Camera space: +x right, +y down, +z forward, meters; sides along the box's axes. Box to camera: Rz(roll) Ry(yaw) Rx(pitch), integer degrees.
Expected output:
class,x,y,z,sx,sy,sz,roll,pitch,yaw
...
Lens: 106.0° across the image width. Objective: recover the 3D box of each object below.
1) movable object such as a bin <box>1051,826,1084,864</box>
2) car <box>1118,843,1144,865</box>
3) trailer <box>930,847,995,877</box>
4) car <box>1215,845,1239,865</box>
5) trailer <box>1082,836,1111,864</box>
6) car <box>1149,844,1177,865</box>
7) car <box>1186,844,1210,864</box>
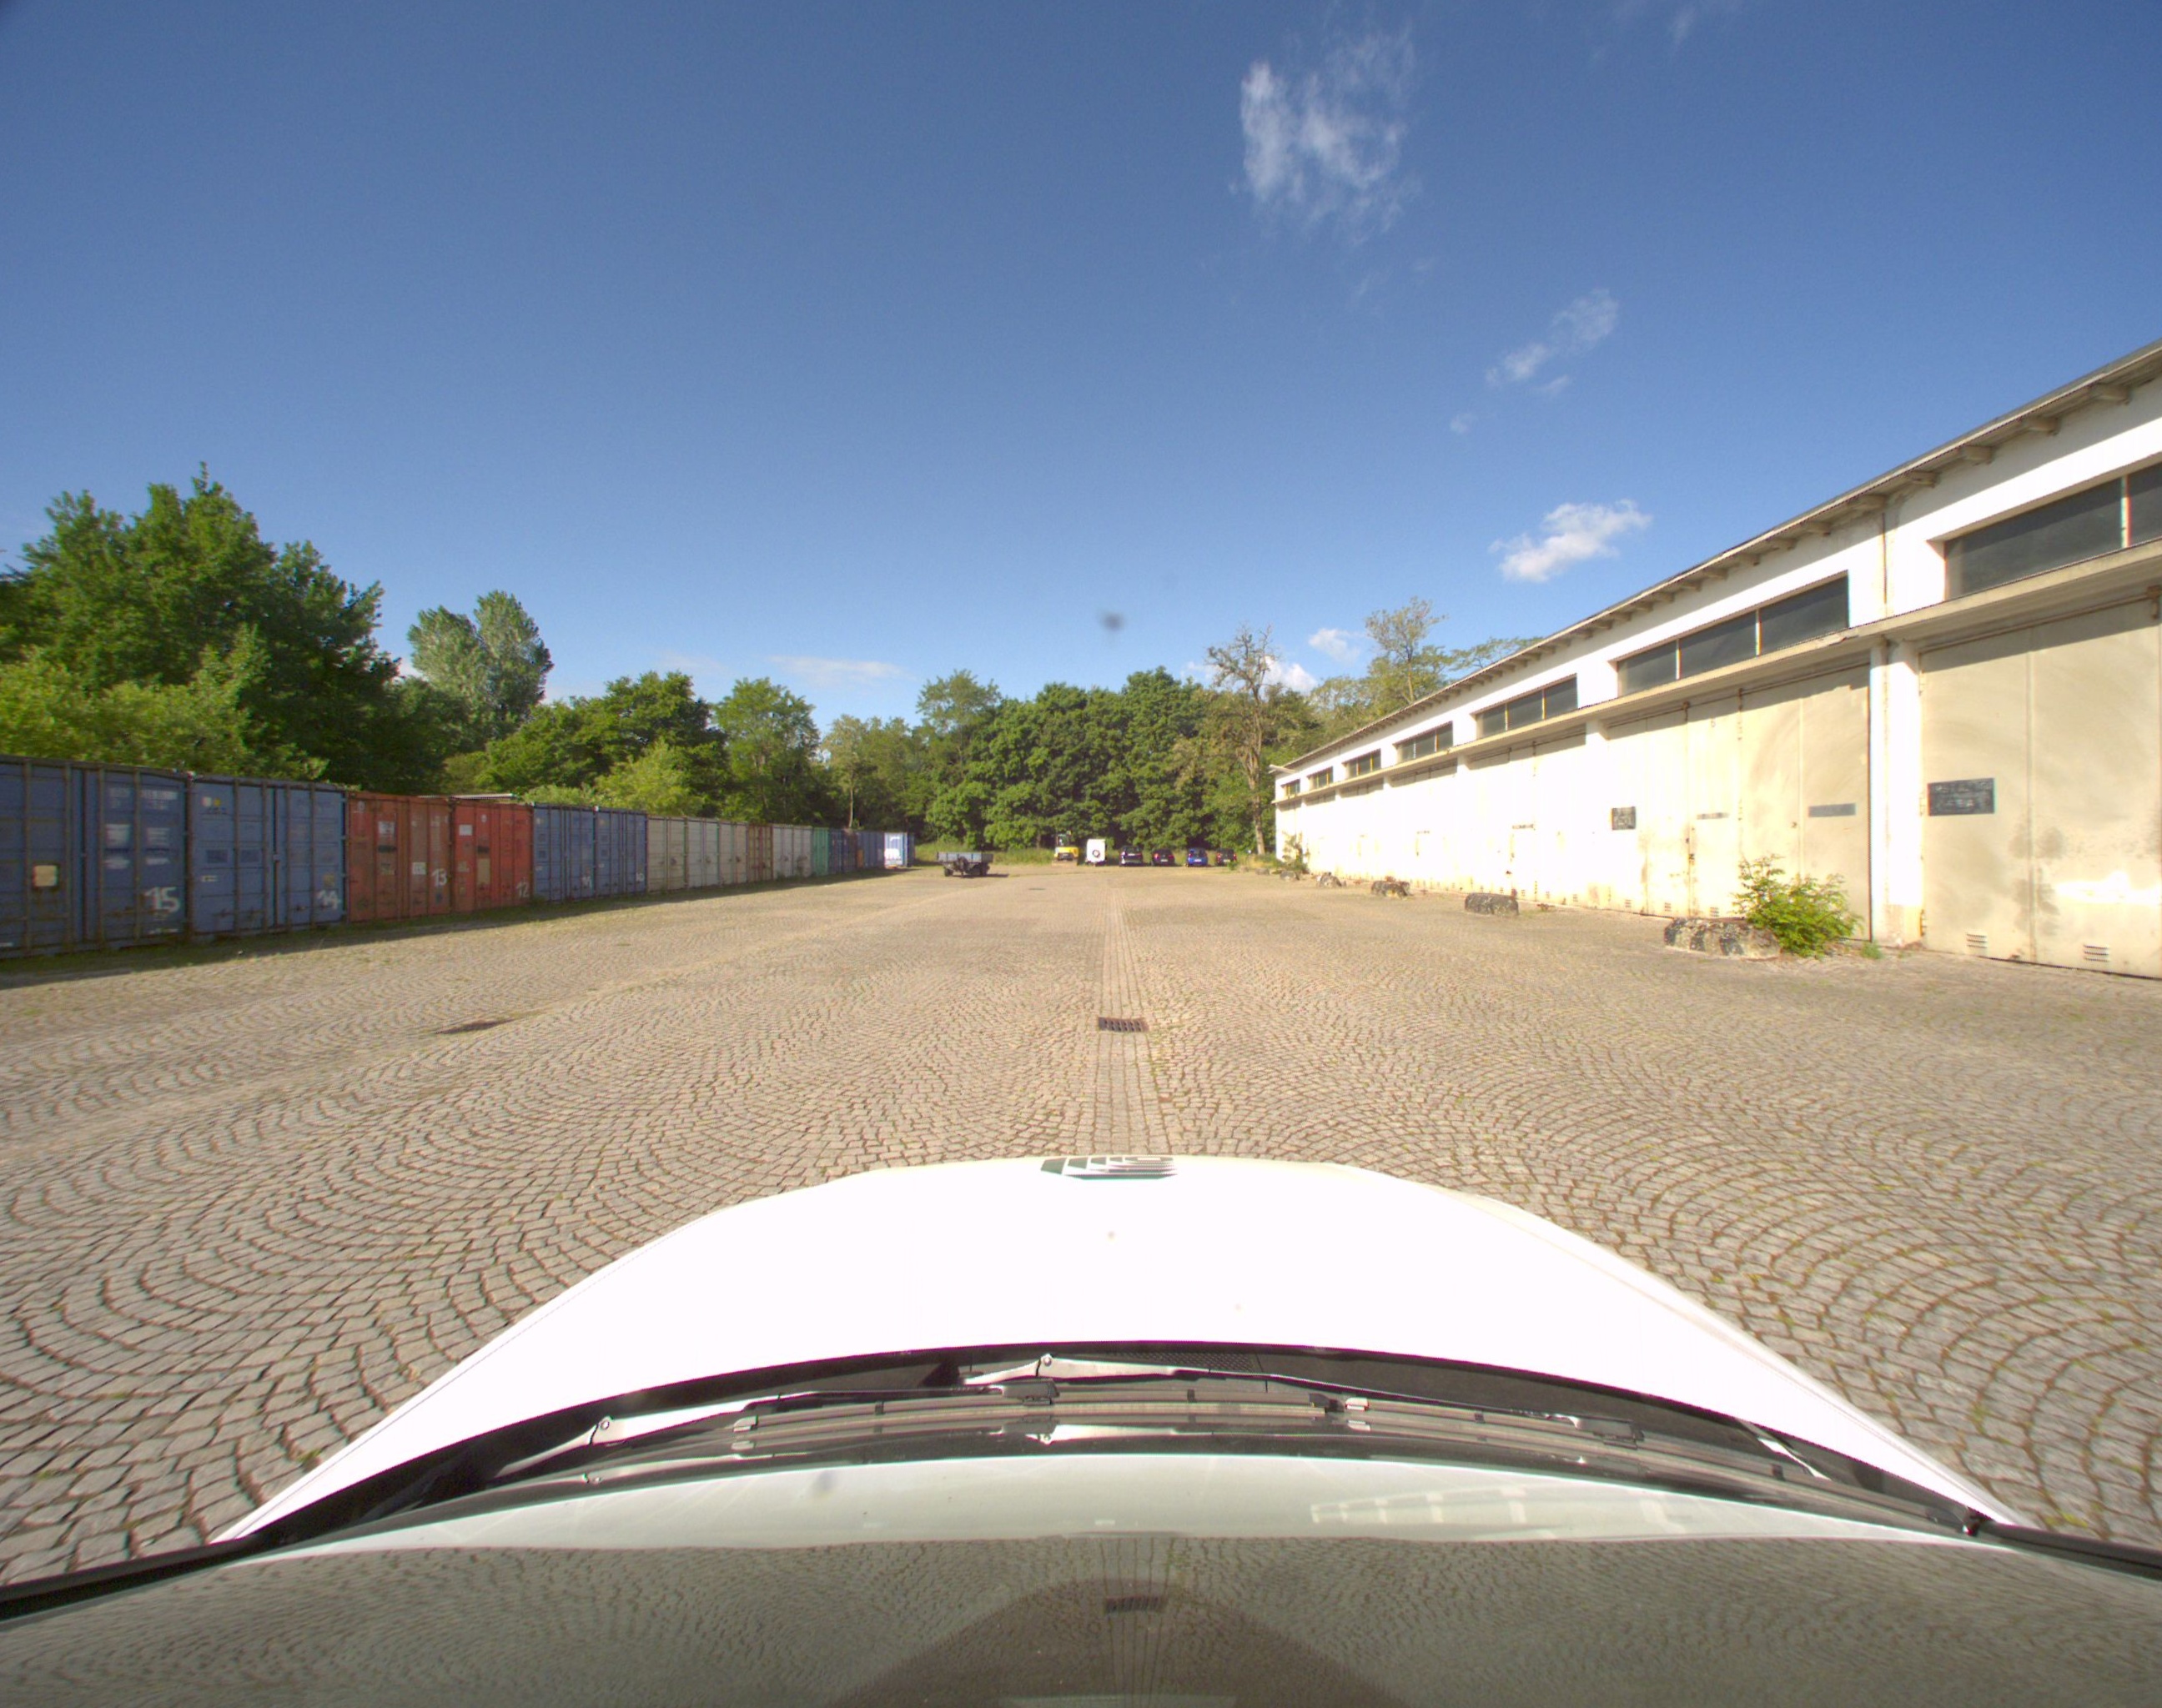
class,x,y,z,sx,sy,sz,roll,pitch,yaw
movable object such as a bin,-1.066,-0.800,66.708,2.297,2.896,5.756,1,2,3
car,3.899,-0.053,63.628,1.857,1.589,4.298,1,2,2
trailer,-6.592,0.373,46.138,2.696,1.465,6.248,1,1,0
car,11.639,0.054,65.174,1.734,1.436,4.194,1,2,9
trailer,1.285,-0.406,66.065,2.185,2.094,5.754,1,2,2
car,6.393,-0.009,63.940,1.857,1.470,4.298,1,2,2
car,9.148,0.000,63.818,1.735,1.436,4.192,1,2,7
